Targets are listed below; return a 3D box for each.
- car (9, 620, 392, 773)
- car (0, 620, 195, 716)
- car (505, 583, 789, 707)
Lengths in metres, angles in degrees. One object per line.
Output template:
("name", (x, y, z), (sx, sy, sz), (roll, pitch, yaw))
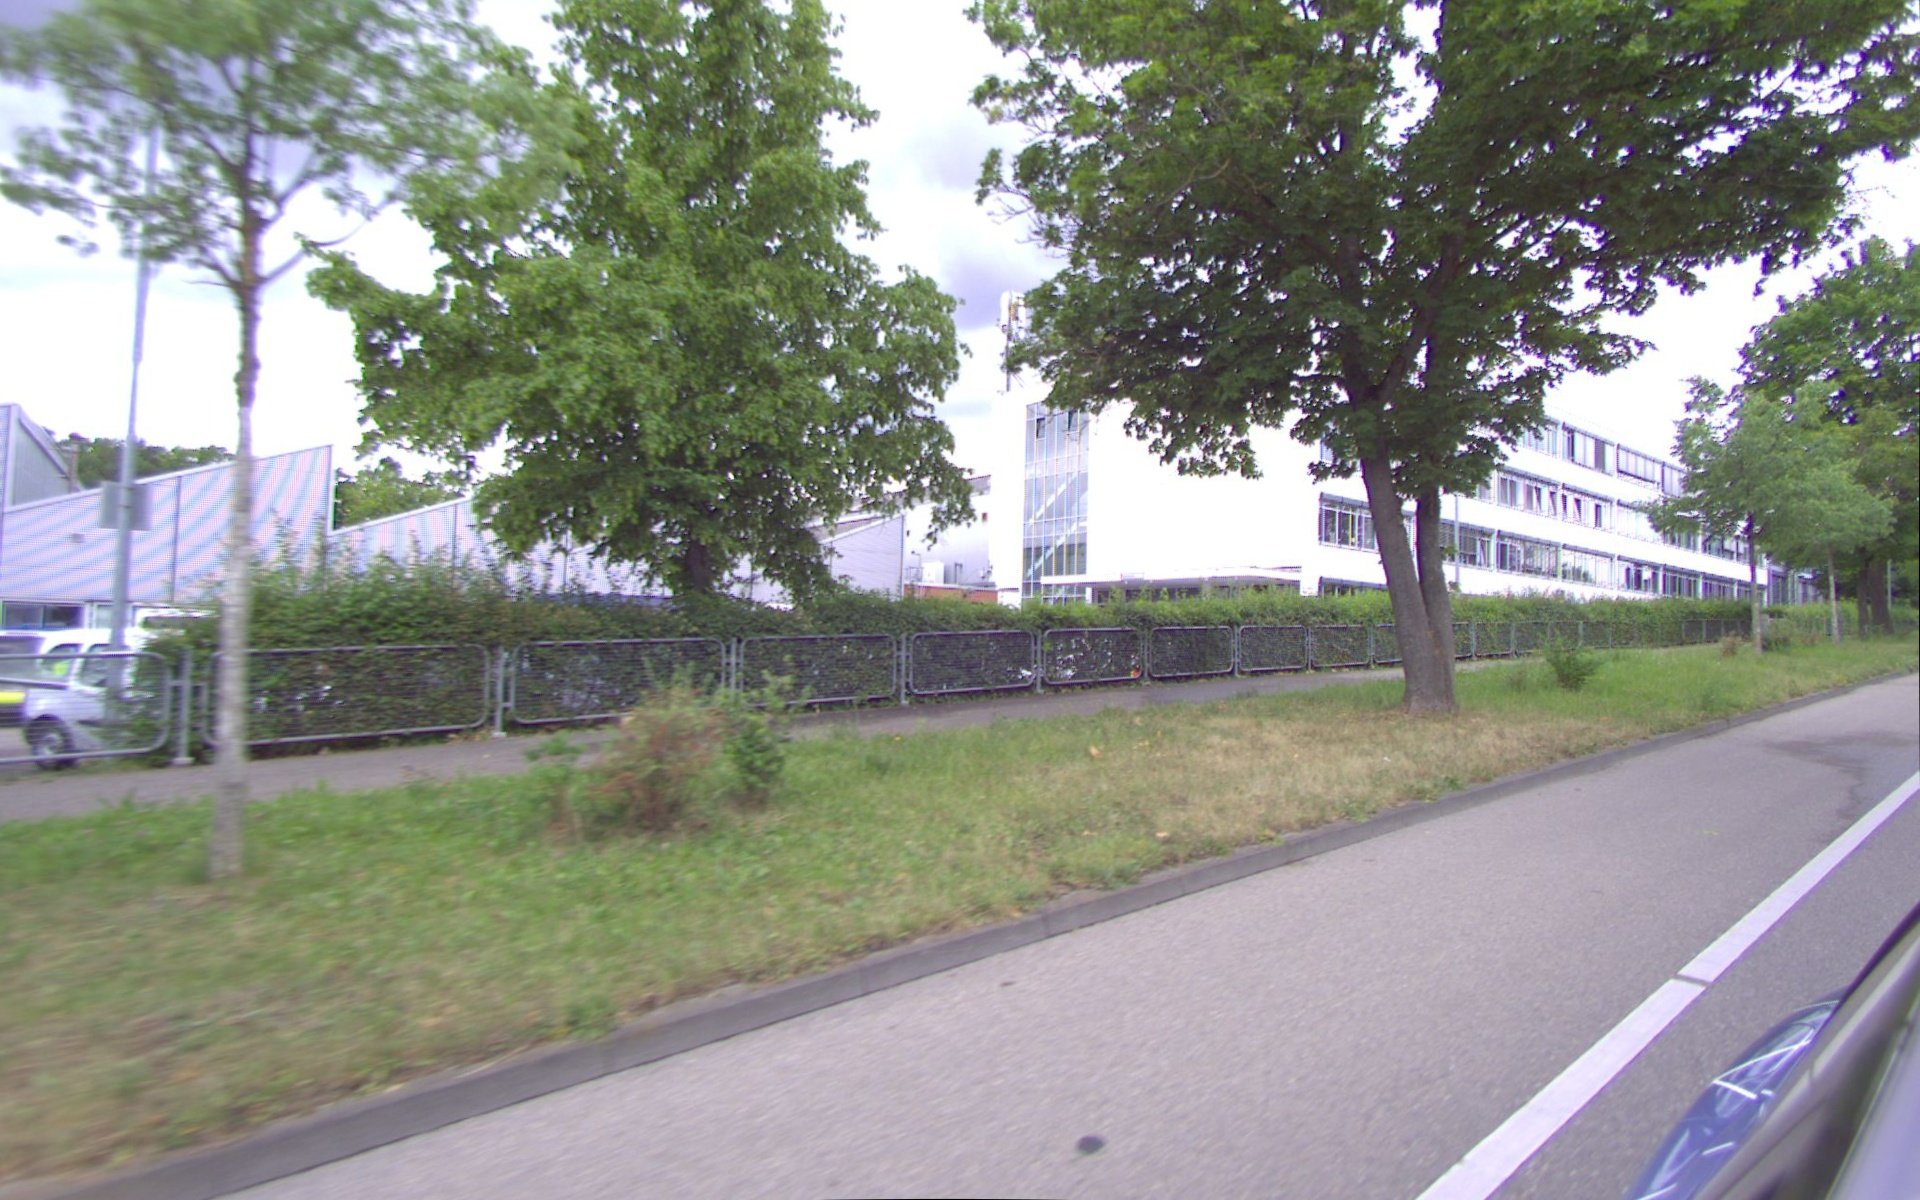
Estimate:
("car", (-10.447, 1.203, 14.271), (1.787, 1.775, 3.962), (-1, -1, 27))
("car", (-18.377, 1.323, 20.730), (1.787, 1.775, 3.962), (-1, -1, 27))
("car", (-5.589, 0.789, 18.336), (4.503, 2.060, 2.065), (-1, -1, 11))
